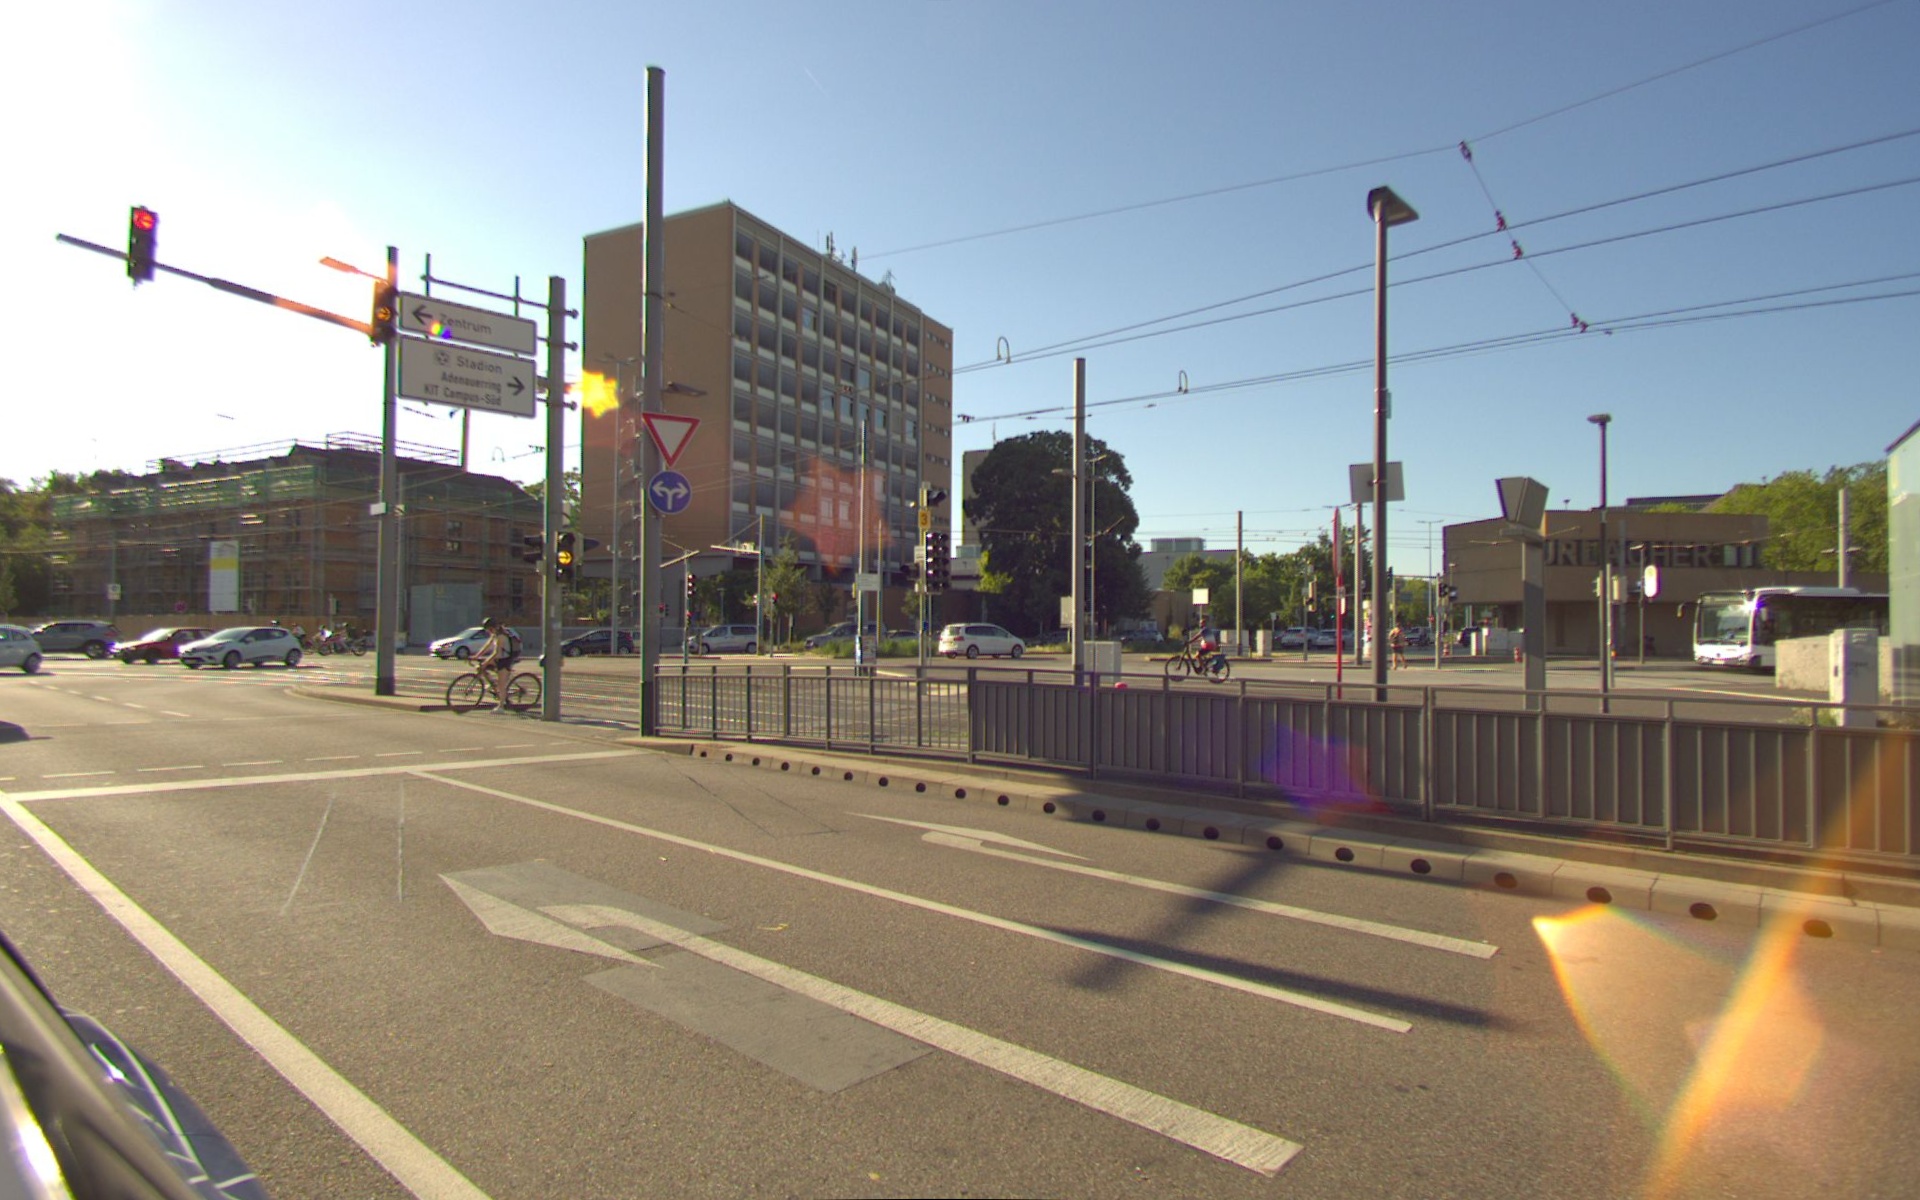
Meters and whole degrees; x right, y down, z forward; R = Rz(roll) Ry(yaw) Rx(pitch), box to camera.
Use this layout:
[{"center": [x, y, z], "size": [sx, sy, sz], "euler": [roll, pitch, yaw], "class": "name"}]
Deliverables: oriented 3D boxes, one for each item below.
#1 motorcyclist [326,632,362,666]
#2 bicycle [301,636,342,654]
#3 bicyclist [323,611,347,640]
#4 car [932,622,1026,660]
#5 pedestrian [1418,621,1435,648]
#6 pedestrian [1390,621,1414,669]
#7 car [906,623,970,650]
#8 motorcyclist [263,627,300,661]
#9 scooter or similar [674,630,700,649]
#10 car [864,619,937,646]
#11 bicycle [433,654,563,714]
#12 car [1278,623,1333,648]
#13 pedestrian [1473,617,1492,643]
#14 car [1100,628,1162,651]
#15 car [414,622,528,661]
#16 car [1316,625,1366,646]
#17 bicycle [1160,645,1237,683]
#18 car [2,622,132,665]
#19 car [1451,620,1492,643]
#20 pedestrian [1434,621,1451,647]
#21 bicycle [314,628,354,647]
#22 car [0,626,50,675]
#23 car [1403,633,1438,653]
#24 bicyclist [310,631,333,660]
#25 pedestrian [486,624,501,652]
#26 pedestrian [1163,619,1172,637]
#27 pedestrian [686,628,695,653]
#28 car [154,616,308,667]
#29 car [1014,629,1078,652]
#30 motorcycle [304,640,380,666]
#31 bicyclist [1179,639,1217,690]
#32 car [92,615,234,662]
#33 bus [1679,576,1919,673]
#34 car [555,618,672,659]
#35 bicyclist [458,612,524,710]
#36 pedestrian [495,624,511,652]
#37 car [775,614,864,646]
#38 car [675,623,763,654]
[{"center": [-30.812, 2.463, 50.657], "size": [1.429, 1.680, 1.121], "euler": [1, -5, -28], "class": "motorcyclist"}, {"center": [-36.676, 2.589, 58.143], "size": [1.847, 0.977, 0.714], "euler": [2, 1, -22], "class": "bicycle"}, {"center": [-36.481, 1.489, 59.086], "size": [1.000, 1.599, 0.696], "euler": [2, 1, -14], "class": "bicyclist"}, {"center": [0.967, 2.053, 50.000], "size": [4.392, 1.747, 1.945], "euler": [4, -4, -38], "class": "car"}, {"center": [32.629, 2.424, 70.772], "size": [0.803, 1.782, 0.951], "euler": [-4, -5, 37], "class": "pedestrian"}, {"center": [16.055, 1.633, 36.798], "size": [0.724, 1.699, 1.048], "euler": [-3, -4, 23], "class": "pedestrian"}, {"center": [-1.461, 2.437, 68.000], "size": [3.934, 1.741, 1.827], "euler": [1, -2, -36], "class": "car"}, {"center": [-34.682, 2.256, 51.774], "size": [1.429, 1.680, 1.121], "euler": [1, -5, -28], "class": "motorcyclist"}, {"center": [-19.744, 2.861, 73.238], "size": [1.691, 1.257, 0.796], "euler": [-2, -4, 13], "class": "scooter or similar"}, {"center": [-4.113, 2.263, 69.802], "size": [4.628, 1.697, 2.005], "euler": [2, -5, -35], "class": "car"}, {"center": [-7.947, 1.426, 17.485], "size": [0.814, 0.949, 1.872], "euler": [-1, -3, 35], "class": "bicycle"}, {"center": [25.673, 2.655, 75.166], "size": [4.553, 1.760, 1.943], "euler": [2, -2, -43], "class": "car"}, {"center": [33.045, 1.907, 63.955], "size": [0.803, 1.580, 1.165], "euler": [-4, -5, 37], "class": "pedestrian"}, {"center": [13.401, 3.102, 79.242], "size": [4.628, 1.697, 2.005], "euler": [2, -5, -35], "class": "car"}, {"center": [-22.137, 1.838, 45.922], "size": [1.997, 1.689, 4.230], "euler": [-1, -2, 37], "class": "car"}, {"center": [27.228, 2.548, 72.211], "size": [1.847, 1.434, 4.369], "euler": [-2, -3, 42], "class": "car"}, {"center": [6.669, 1.782, 28.323], "size": [1.990, 0.949, 0.808], "euler": [0, -1, 25], "class": "bicycle"}, {"center": [-39.081, 1.861, 44.415], "size": [3.931, 1.618, 2.007], "euler": [-1, 2, -29], "class": "car"}, {"center": [40.608, 2.497, 80.318], "size": [1.865, 1.642, 3.982], "euler": [4, 1, 41], "class": "car"}, {"center": [33.444, 2.373, 70.190], "size": [0.803, 1.782, 0.961], "euler": [-4, -5, 37], "class": "pedestrian"}, {"center": [-36.539, 2.190, 59.088], "size": [1.848, 0.977, 0.714], "euler": [2, 1, -14], "class": "bicycle"}, {"center": [-29.917, 1.525, 30.495], "size": [1.757, 1.475, 3.921], "euler": [1, -1, -7], "class": "car"}, {"center": [38.494, 3.590, 84.492], "size": [1.720, 1.643, 3.820], "euler": [-3, -4, 39], "class": "car"}, {"center": [-36.681, 2.602, 58.147], "size": [0.999, 1.599, 0.696], "euler": [2, 1, -22], "class": "bicyclist"}, {"center": [-29.400, 2.410, 63.806], "size": [0.612, 1.752, 0.667], "euler": [1, -1, -7], "class": "pedestrian"}, {"center": [19.440, 2.623, 94.870], "size": [0.582, 1.674, 0.567], "euler": [2, -5, -35], "class": "pedestrian"}, {"center": [-18.041, 2.718, 67.761], "size": [0.496, 1.648, 0.428], "euler": [3, -6, -42], "class": "pedestrian"}, {"center": [-26.038, 1.451, 36.359], "size": [1.979, 1.689, 4.266], "euler": [0, -1, 12], "class": "car"}, {"center": [6.624, 3.118, 77.566], "size": [4.628, 1.697, 2.005], "euler": [2, -5, -35], "class": "car"}, {"center": [-30.846, 2.643, 50.621], "size": [3.177, 1.204, 1.121], "euler": [1, -5, -28], "class": "motorcycle"}, {"center": [6.668, 1.782, 28.319], "size": [0.897, 1.355, 0.809], "euler": [0, -1, 25], "class": "bicyclist"}, {"center": [-31.557, 1.579, 40.190], "size": [1.989, 1.697, 3.965], "euler": [-3, -5, 26], "class": "car"}, {"center": [32.814, 0.879, 36.295], "size": [12.465, 3.219, 2.845], "euler": [-1, -4, -6], "class": "bus"}, {"center": [-18.418, 2.068, 53.896], "size": [5.666, 2.029, 2.006], "euler": [1, -5, -29], "class": "car"}, {"center": [-8.041, 1.037, 17.352], "size": [0.814, 1.628, 0.668], "euler": [-1, -3, 36], "class": "bicyclist"}, {"center": [-29.149, 2.405, 64.568], "size": [0.721, 1.752, 0.623], "euler": [2, -1, -39], "class": "pedestrian"}, {"center": [-7.868, 1.681, 56.741], "size": [4.540, 1.701, 2.005], "euler": [1, -2, -34], "class": "car"}, {"center": [-14.185, 2.271, 59.660], "size": [4.627, 1.697, 2.006], "euler": [1, -5, -31], "class": "car"}]
